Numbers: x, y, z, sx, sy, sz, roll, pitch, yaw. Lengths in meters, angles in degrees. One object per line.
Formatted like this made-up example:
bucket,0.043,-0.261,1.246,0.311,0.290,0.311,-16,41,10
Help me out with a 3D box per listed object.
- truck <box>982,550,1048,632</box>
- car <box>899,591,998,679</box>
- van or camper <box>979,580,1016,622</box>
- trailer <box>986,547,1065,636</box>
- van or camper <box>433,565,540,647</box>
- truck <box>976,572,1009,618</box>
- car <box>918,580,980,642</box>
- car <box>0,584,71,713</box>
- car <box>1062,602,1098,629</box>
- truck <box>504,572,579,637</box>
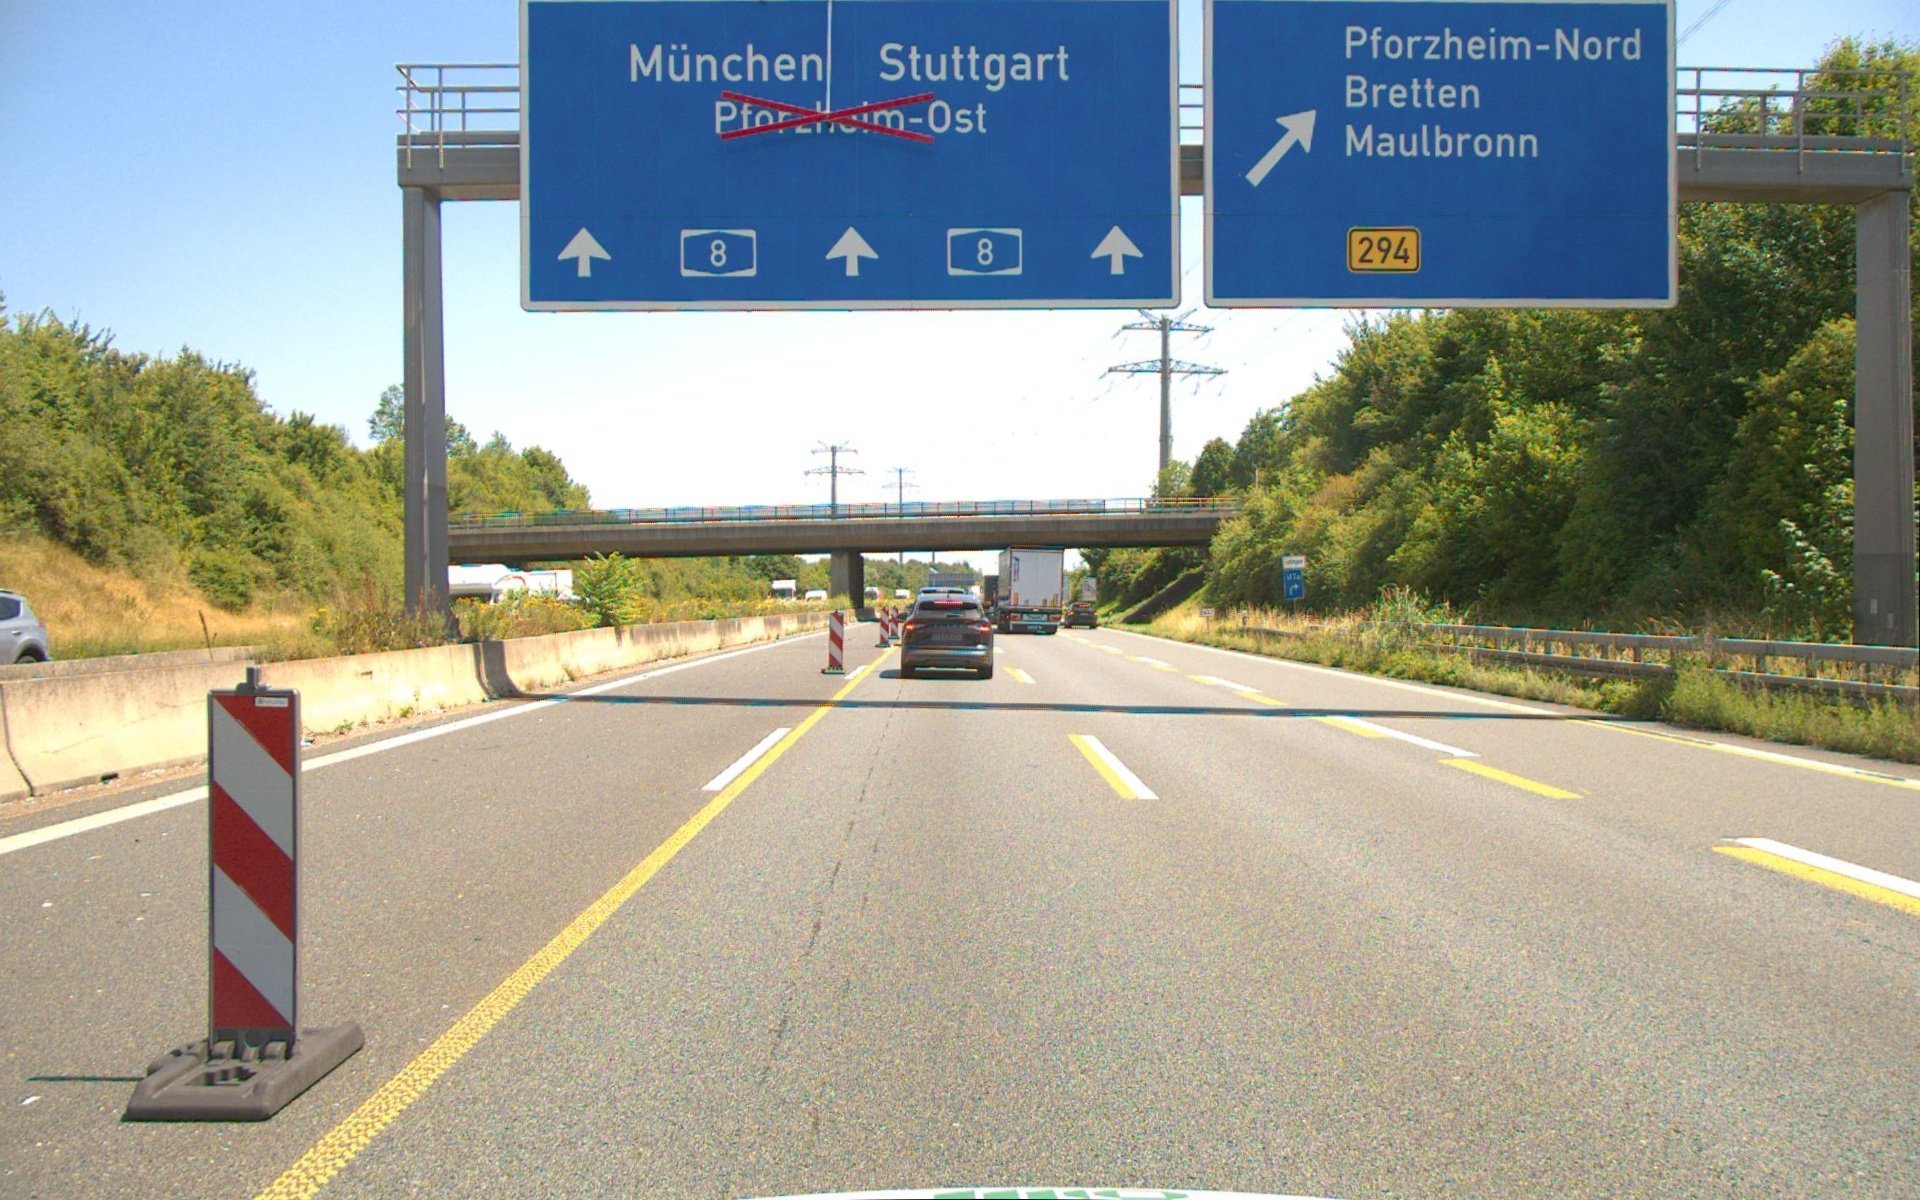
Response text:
truck,2.859,-0.488,88.739,2.964,4.159,7.792,1,0,-2
car,-0.275,0.638,33.169,1.857,1.620,4.441,0,0,-2
van or camper,2.807,0.083,124.867,2.533,3.020,6.084,2,0,0
trailer,3.100,-0.409,81.941,3.003,4.113,11.482,1,0,-2
van or camper,-19.641,0.250,69.031,2.386,3.202,7.625,-1,0,-1
truck,3.117,-0.478,161.208,3.014,4.219,13.054,1,0,0
car,-0.399,0.407,54.927,1.857,1.874,4.440,3,-2,-2
car,-14.465,0.686,22.804,1.953,1.813,4.621,-1,0,-1
car,7.083,0.889,98.007,1.743,1.515,4.463,1,0,-1
truck,-22.116,0.232,87.720,2.444,3.316,6.363,-1,0,-1
